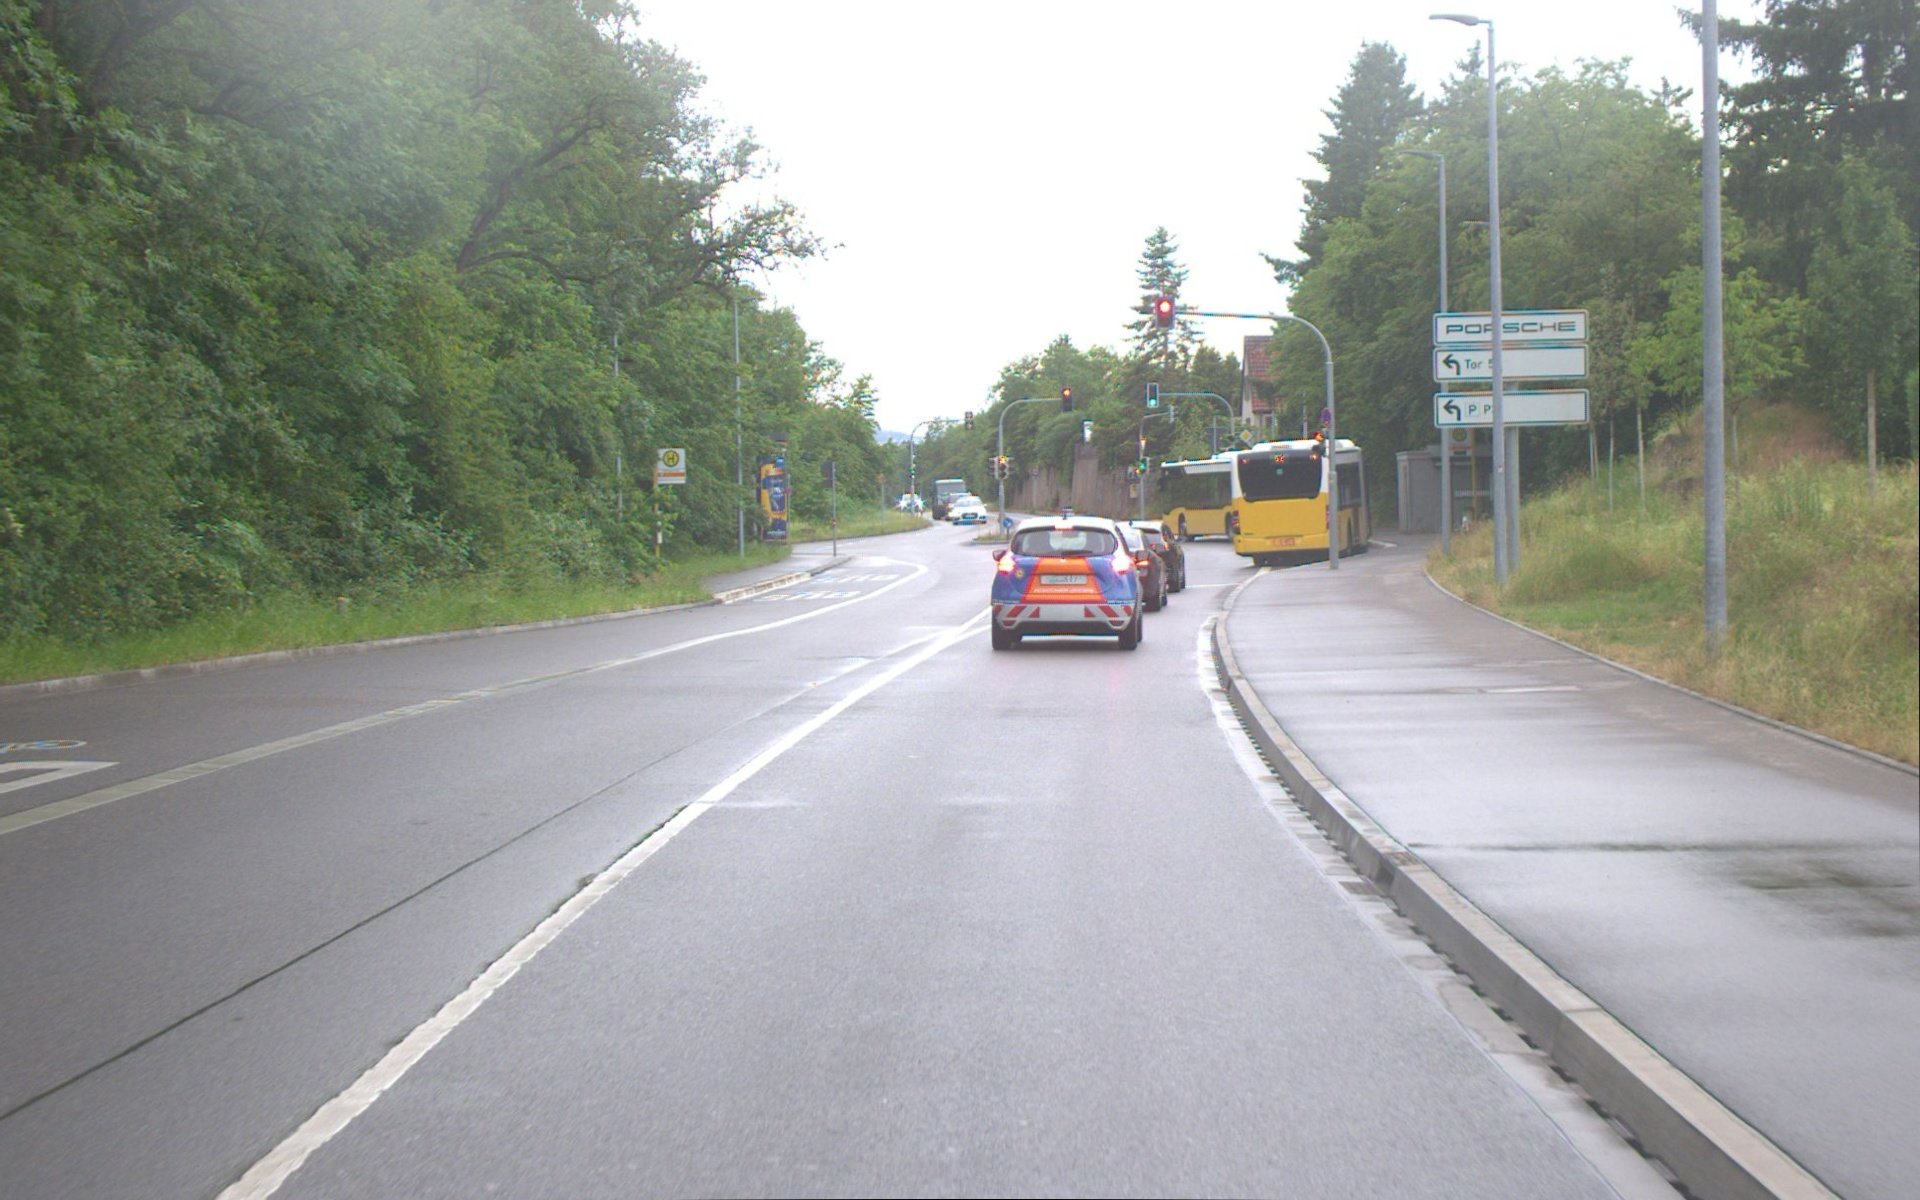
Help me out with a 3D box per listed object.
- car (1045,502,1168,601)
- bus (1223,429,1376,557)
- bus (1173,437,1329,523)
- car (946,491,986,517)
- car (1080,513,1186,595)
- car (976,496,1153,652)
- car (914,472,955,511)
[{"bbox_3d":[2.404,-0.823,56.899,1.927,1.481,3.800,-1,2,2],"label":"car"},{"bbox_3d":[8.852,-2.706,88.683,2.818,3.132,9.175,0,1,13],"label":"bus"},{"bbox_3d":[10.016,-4.104,119.543,2.816,2.796,10.642,0,1,-10],"label":"bus"},{"bbox_3d":[0.294,-5.289,189.247,1.993,1.415,4.001,0,1,-3],"label":"car"},{"bbox_3d":[3.367,-0.909,67.320,1.994,1.546,4.000,0,1,2],"label":"car"},{"bbox_3d":[1.256,-0.358,41.562,1.993,1.683,4.000,-1,2,2],"label":"car"},{"bbox_3d":[-1.594,-6.726,213.517,2.269,2.327,5.589,0,1,-3],"label":"car"}]
